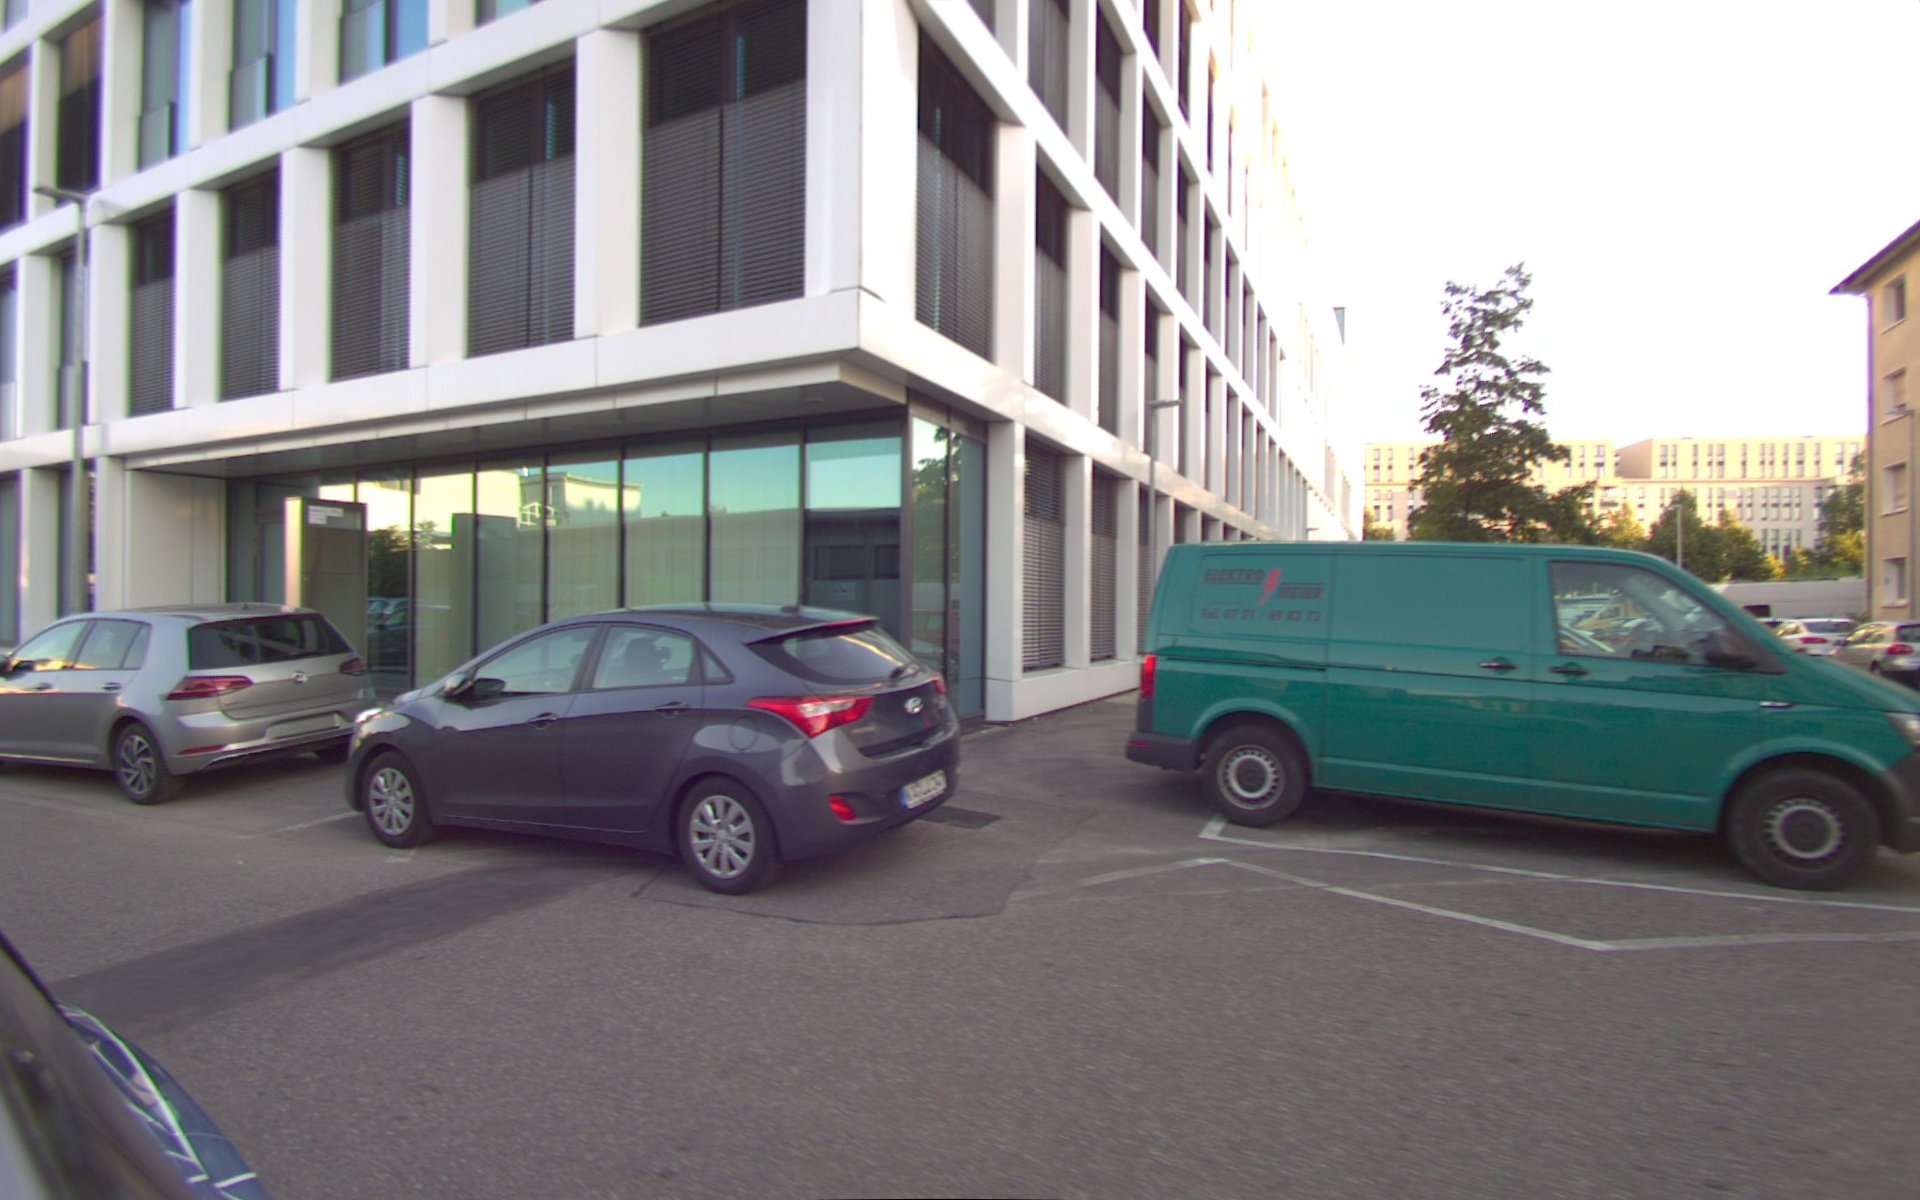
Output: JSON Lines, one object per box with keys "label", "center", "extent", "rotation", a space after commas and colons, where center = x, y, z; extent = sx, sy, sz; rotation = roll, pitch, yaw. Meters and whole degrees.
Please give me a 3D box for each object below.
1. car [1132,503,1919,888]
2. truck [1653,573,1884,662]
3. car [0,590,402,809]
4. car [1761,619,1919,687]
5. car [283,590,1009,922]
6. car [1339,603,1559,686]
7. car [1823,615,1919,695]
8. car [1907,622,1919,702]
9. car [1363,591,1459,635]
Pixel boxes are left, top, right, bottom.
{"label": "car", "center": [3.694, 0.471, 6.877], "extent": [4.663, 1.994, 1.788], "rotation": [1, 0, 26]}
{"label": "truck", "center": [29.172, 0.690, 36.843], "extent": [5.965, 2.743, 2.319], "rotation": [-4, -3, 24]}
{"label": "car", "center": [-7.065, 0.695, 8.758], "extent": [4.158, 1.490, 1.703], "rotation": [0, 3, 23]}
{"label": "car", "center": [22.237, 1.304, 25.751], "extent": [1.869, 1.495, 3.916], "rotation": [-4, -3, 24]}
{"label": "car", "center": [-2.014, 0.690, 6.315], "extent": [4.307, 1.490, 1.770], "rotation": [0, 1, 26]}
{"label": "car", "center": [11.352, 0.980, 23.735], "extent": [4.441, 1.624, 1.720], "rotation": [2, 0, 26]}
{"label": "car", "center": [20.498, 1.117, 21.682], "extent": [1.869, 1.495, 3.916], "rotation": [-4, -3, 24]}
{"label": "car", "center": [18.294, 1.092, 17.218], "extent": [1.869, 1.495, 3.916], "rotation": [-4, -3, 24]}
{"label": "car", "center": [28.653, 0.786, 64.494], "extent": [5.481, 2.554, 1.722], "rotation": [2, 0, 23]}
